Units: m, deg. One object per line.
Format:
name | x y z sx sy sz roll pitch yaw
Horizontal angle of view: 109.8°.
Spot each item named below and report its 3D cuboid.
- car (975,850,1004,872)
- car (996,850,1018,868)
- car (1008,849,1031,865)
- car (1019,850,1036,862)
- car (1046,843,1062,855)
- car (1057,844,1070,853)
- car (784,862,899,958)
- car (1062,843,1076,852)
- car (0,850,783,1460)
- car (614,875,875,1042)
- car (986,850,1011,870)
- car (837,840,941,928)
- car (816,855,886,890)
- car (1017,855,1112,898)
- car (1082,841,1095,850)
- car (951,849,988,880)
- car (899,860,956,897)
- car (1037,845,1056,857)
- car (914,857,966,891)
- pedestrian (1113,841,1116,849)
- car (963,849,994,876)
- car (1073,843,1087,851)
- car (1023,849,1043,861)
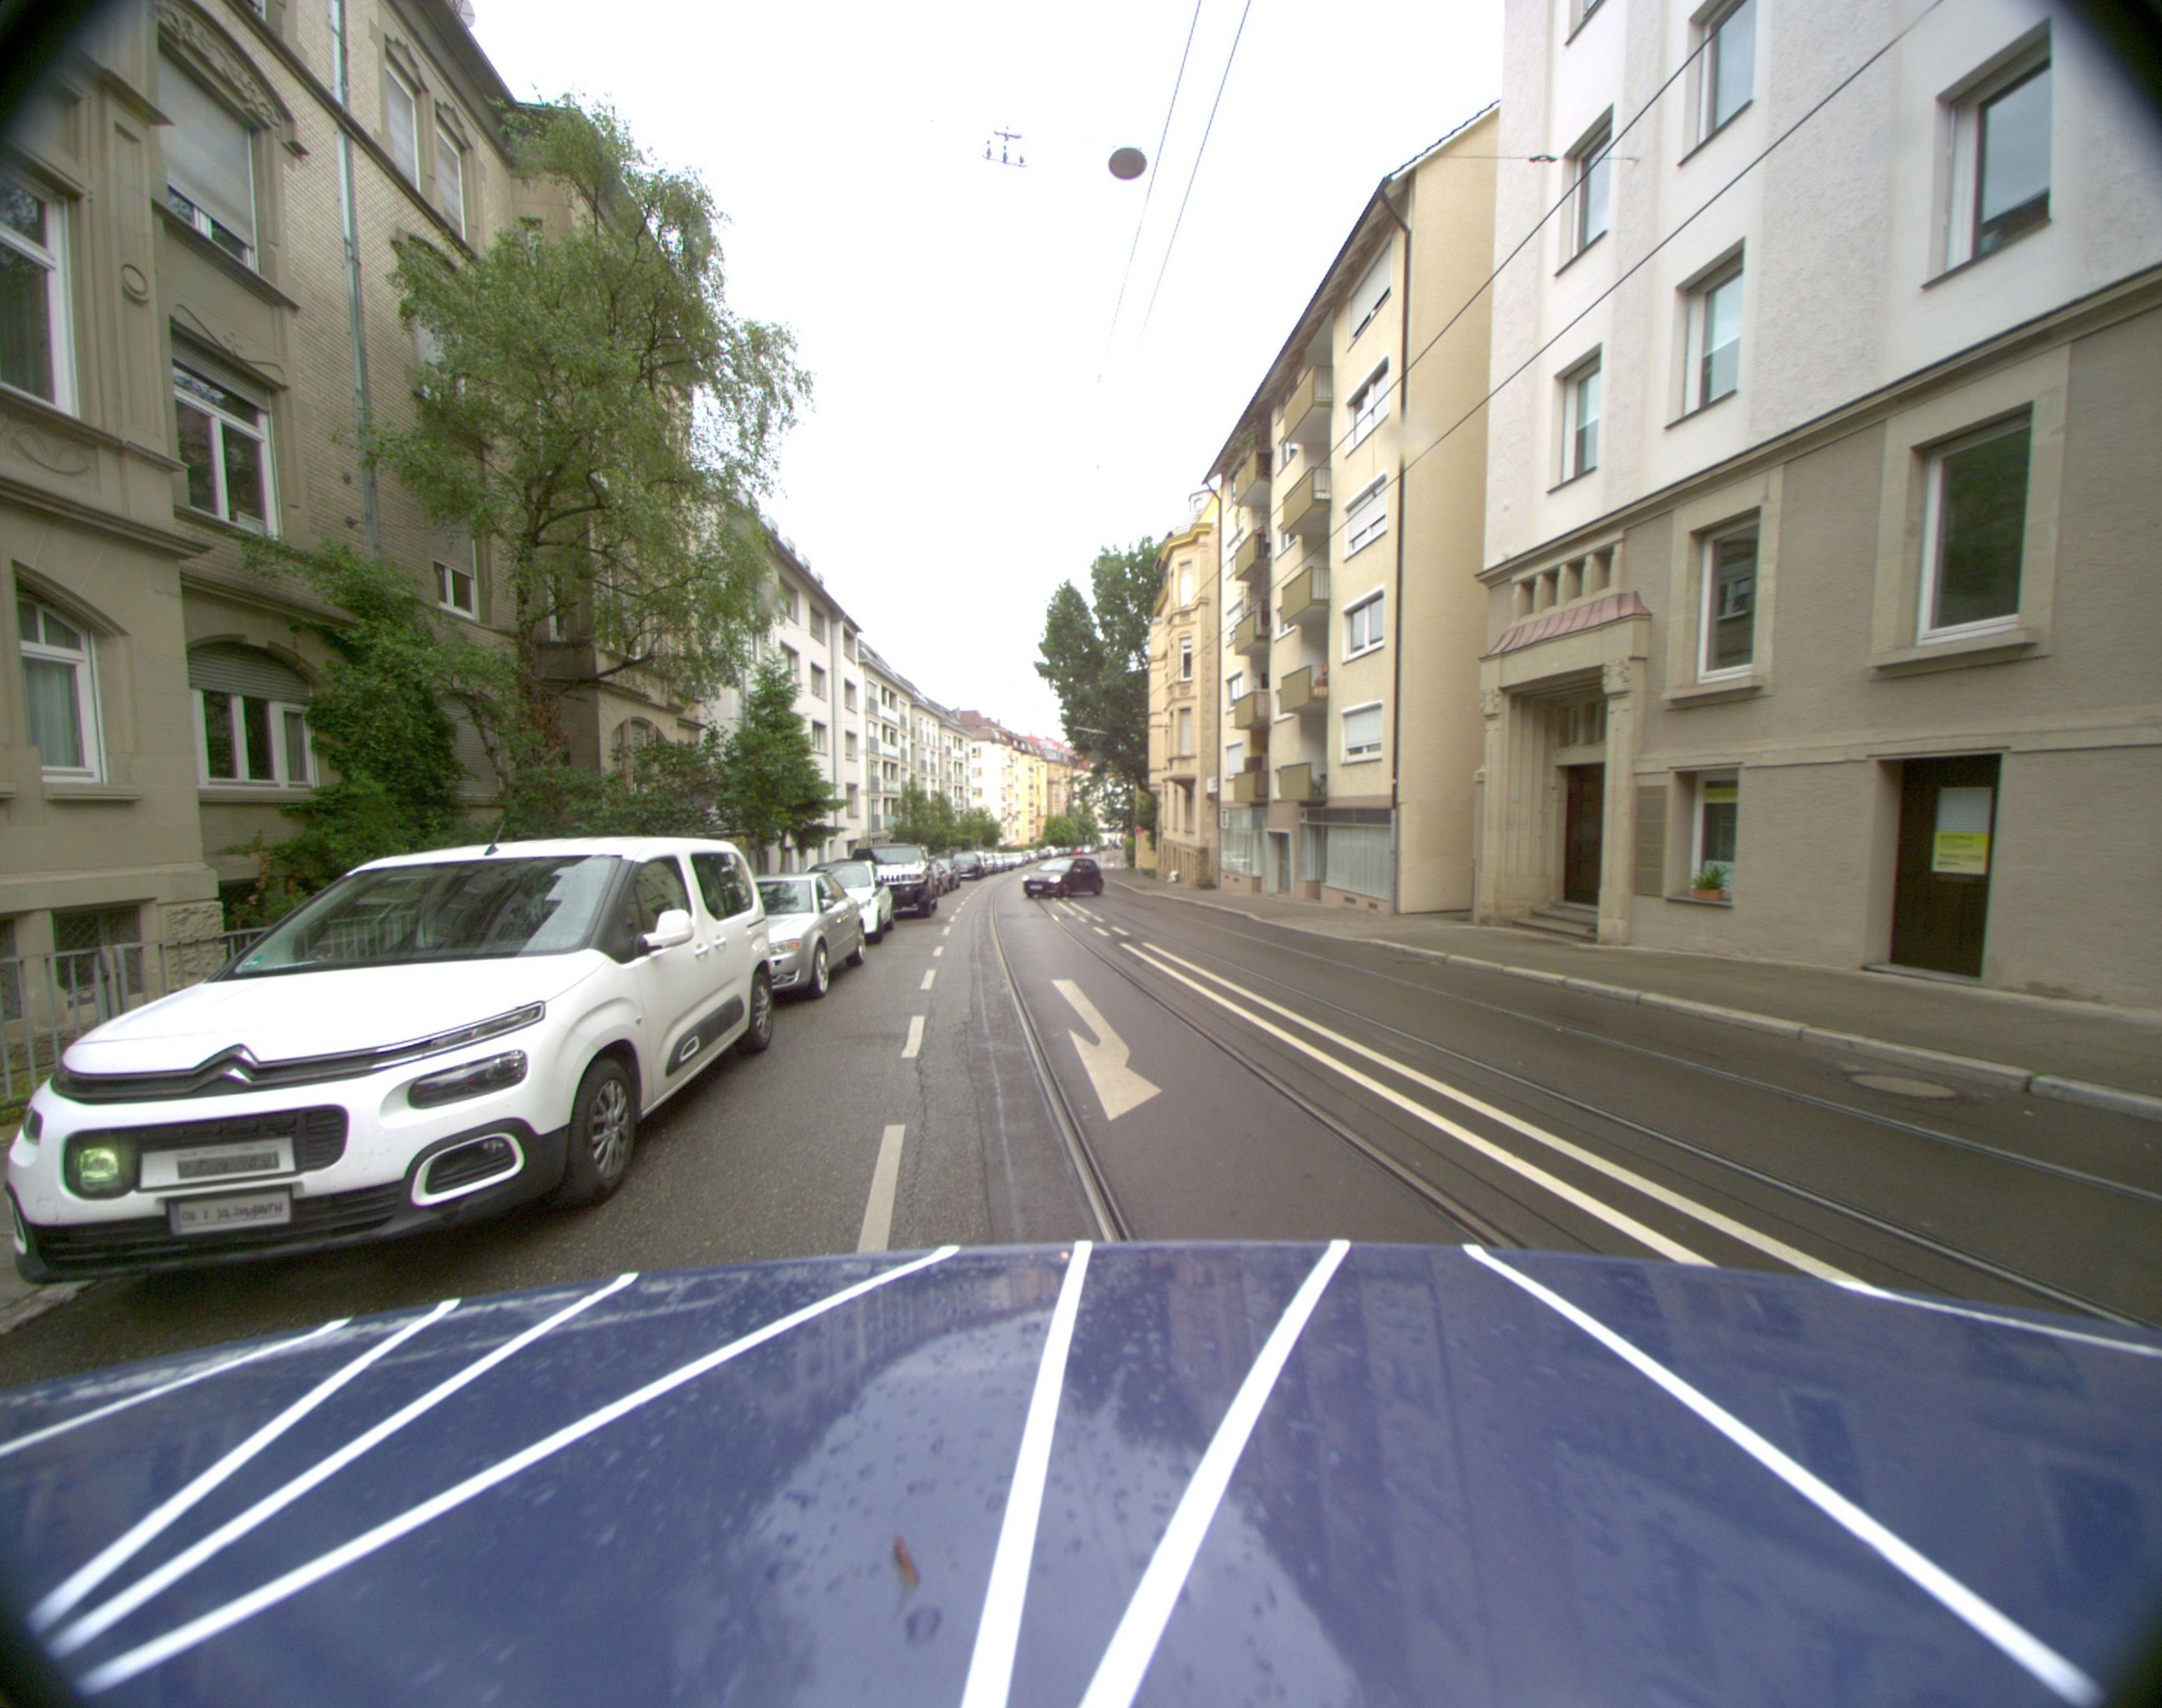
car | -7.283 0.527 60.760 1.837 1.647 4.685 -1 1 -1
car | -7.018 0.410 71.906 1.981 1.576 4.563 -1 1 -5
car | -6.544 0.288 81.485 1.862 1.507 4.789 -1 1 2
car | -6.241 0.216 88.995 1.600 1.416 3.515 -1 1 4
car | -3.914 -0.697 109.871 1.798 1.613 3.868 -2 2 6
car | -2.737 -0.872 118.698 1.590 1.434 3.477 -2 2 6
car | -4.604 0.983 15.040 1.565 1.537 3.581 -3 1 -9
car | -1.926 -0.996 123.930 1.658 1.360 3.637 -2 2 8
car | -3.284 0.900 4.493 1.803 1.755 4.459 -3 1 -9
car | -3.924 1.092 9.759 1.754 1.392 4.475 -3 1 -7
car | -7.162 0.494 66.420 1.837 1.618 4.662 -1 1 -2
car | -5.119 0.705 21.029 2.135 2.002 5.346 -3 1 -8
car | -10.722 0.839 35.727 1.817 1.418 4.153 -3 0 2
car | -0.550 0.789 28.683 1.736 1.445 4.007 -1 1 30
car | 1.462 -1.556 139.672 1.612 1.434 3.690 -1 2 13
car | -7.165 0.615 49.189 1.948 1.785 4.818 -2 1 -4
car | -6.189 0.947 31.080 1.683 1.330 3.881 -2 1 -3
car | -4.688 -0.463 104.479 1.797 1.444 4.104 -2 2 9
car | -6.527 0.882 35.627 1.799 1.429 4.609 -2 1 -3
pedestrian | 7.319 -1.992 167.985 0.649 1.652 0.650 0 1 4
car | -7.312 0.561 54.451 1.783 1.785 4.469 -1 1 -3
car | -0.154 -1.241 131.072 1.556 1.360 3.126 -1 2 13
car | -5.901 0.096 93.882 1.721 1.459 4.391 -1 1 6
